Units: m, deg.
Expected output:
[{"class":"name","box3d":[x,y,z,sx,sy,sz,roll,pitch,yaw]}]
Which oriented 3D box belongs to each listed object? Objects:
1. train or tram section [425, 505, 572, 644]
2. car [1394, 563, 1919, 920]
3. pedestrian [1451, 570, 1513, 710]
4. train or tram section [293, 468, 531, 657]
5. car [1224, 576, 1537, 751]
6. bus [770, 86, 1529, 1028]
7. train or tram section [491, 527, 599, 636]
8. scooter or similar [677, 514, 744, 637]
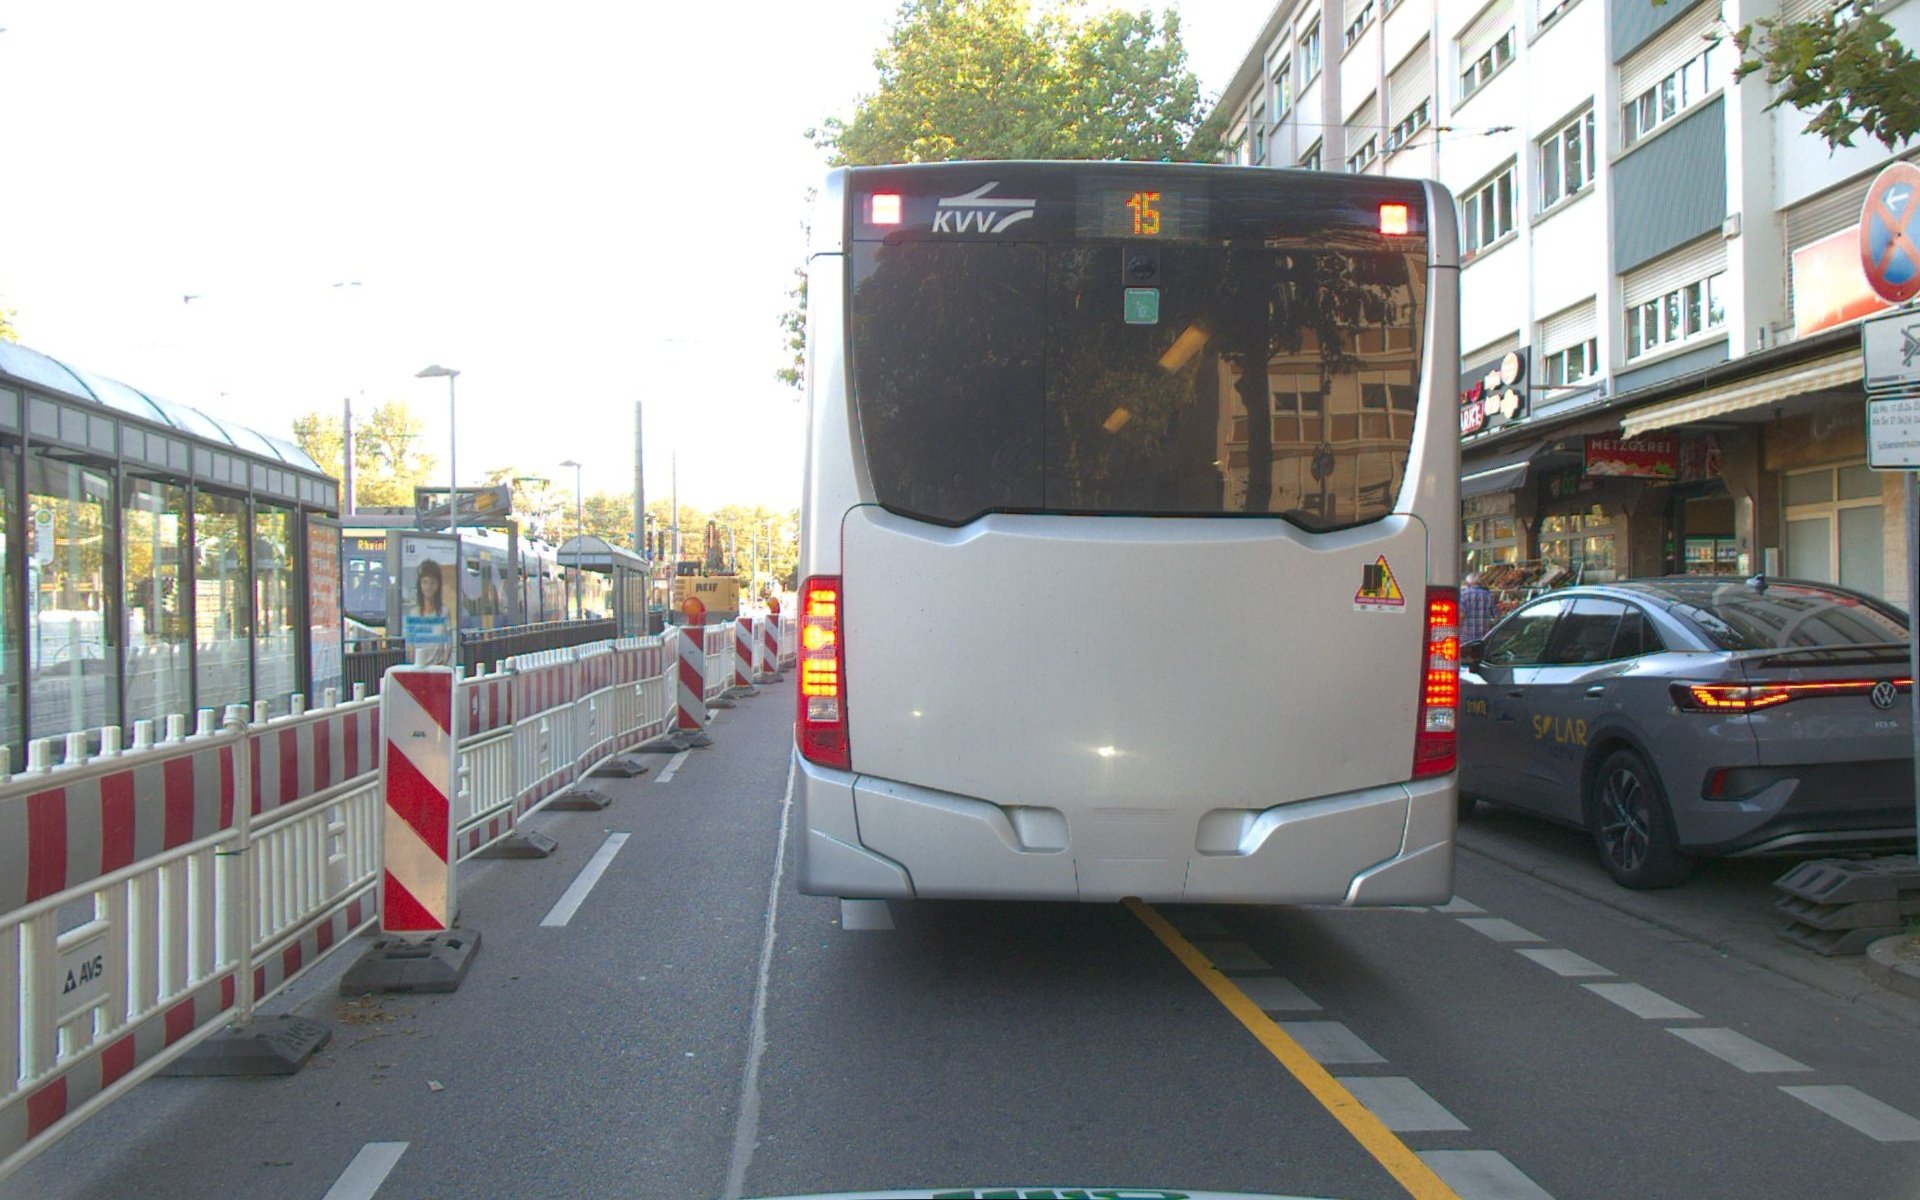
[{"class":"train or tram section","box3d":[-13.543,-0.652,49.459,2.636,3.621,11.560,1,0,-8]},{"class":"car","box3d":[4.372,0.636,10.011,1.955,1.609,4.363,-3,1,-5]},{"class":"pedestrian","box3d":[6.526,0.496,20.700,0.649,1.696,0.601,-2,-1,15]},{"class":"train or tram section","box3d":[-12.117,-0.704,37.850,2.635,3.595,11.756,1,0,-6]},{"class":"car","box3d":[4.460,0.603,18.309,1.955,1.609,4.363,-3,1,-5]},{"class":"bus","box3d":[0.606,-0.133,9.683,2.558,3.181,7.991,1,0,-1]},{"class":"train or tram section","box3d":[-15.097,-0.598,60.923,2.636,3.594,11.560,1,0,-8]},{"class":"scooter or similar","box3d":[-9.685,-0.922,64.451,2.422,4.549,5.962,0,0,-8]}]
